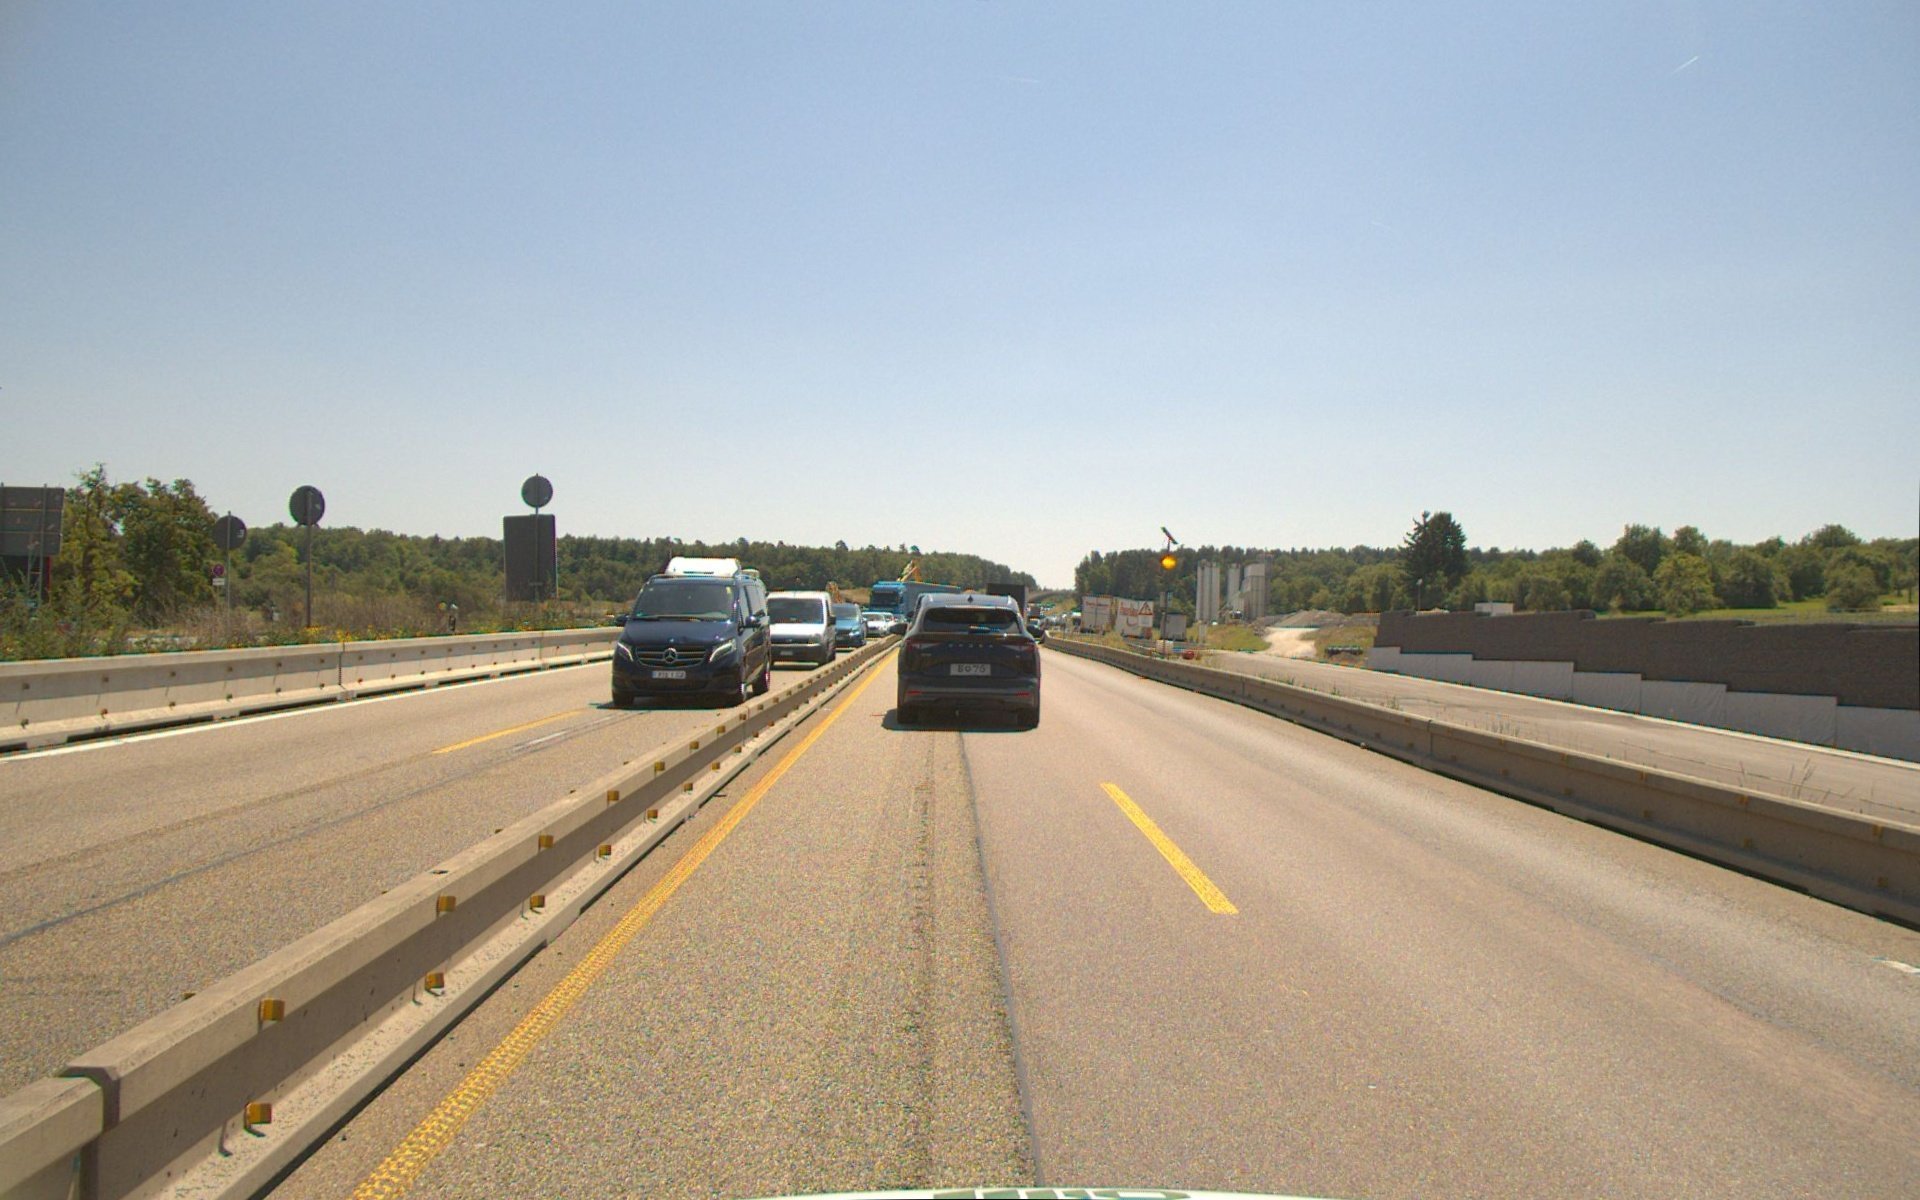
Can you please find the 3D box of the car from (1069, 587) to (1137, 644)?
[{"bbox_3d":[12.007,1.382,138.195,3.366,4.171,9.200,5,-1,18],"label":"car"}]

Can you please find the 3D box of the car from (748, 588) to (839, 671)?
[{"bbox_3d":[-3.967,0.652,40.089,1.816,1.872,4.590,1,0,-1],"label":"car"}]

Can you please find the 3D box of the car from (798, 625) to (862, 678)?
[{"bbox_3d":[-4.385,1.716,56.376,1.866,1.637,4.000,1,0,-1],"label":"car"}]

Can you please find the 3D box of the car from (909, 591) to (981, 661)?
[{"bbox_3d":[-0.474,0.748,48.811,1.953,1.876,3.998,3,-1,-2],"label":"car"}]

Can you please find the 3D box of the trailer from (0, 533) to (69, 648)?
[{"bbox_3d":[-38.134,-0.397,56.805,3.088,4.183,14.150,0,-1,26],"label":"trailer"}]

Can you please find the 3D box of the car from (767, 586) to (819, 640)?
[{"bbox_3d":[-8.161,0.641,81.136,1.876,2.440,6.450,-4,0,-1],"label":"car"}]

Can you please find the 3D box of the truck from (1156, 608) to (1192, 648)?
[{"bbox_3d":[25.502,3.369,196.538,3.403,4.292,10.384,6,0,10],"label":"truck"}]

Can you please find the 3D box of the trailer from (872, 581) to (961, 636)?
[{"bbox_3d":[-3.366,0.784,134.901,2.853,4.201,13.922,1,-1,17],"label":"trailer"}]

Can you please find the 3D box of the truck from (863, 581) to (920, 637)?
[{"bbox_3d":[-5.283,0.715,128.418,2.852,4.201,6.143,1,-1,13],"label":"truck"}]

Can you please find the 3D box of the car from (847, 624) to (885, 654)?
[{"bbox_3d":[-4.799,1.976,84.997,1.779,1.400,4.246,-1,0,-1],"label":"car"}]

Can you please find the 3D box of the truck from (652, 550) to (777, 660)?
[{"bbox_3d":[-6.866,0.126,47.247,2.429,2.874,8.127,0,0,-1],"label":"truck"}]

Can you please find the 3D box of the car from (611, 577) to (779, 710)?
[{"bbox_3d":[-3.973,0.581,25.612,1.868,1.836,5.081,1,0,-1],"label":"car"}]

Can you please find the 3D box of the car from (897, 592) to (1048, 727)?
[{"bbox_3d":[0.147,0.712,21.757,1.805,1.609,4.000,0,0,0],"label":"car"}]

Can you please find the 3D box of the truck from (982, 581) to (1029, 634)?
[{"bbox_3d":[2.736,0.416,98.147,2.617,2.997,5.622,1,0,3],"label":"truck"}]

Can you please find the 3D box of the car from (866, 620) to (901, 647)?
[{"bbox_3d":[-4.599,2.011,99.711,1.975,1.470,4.587,1,0,-1],"label":"car"}]
